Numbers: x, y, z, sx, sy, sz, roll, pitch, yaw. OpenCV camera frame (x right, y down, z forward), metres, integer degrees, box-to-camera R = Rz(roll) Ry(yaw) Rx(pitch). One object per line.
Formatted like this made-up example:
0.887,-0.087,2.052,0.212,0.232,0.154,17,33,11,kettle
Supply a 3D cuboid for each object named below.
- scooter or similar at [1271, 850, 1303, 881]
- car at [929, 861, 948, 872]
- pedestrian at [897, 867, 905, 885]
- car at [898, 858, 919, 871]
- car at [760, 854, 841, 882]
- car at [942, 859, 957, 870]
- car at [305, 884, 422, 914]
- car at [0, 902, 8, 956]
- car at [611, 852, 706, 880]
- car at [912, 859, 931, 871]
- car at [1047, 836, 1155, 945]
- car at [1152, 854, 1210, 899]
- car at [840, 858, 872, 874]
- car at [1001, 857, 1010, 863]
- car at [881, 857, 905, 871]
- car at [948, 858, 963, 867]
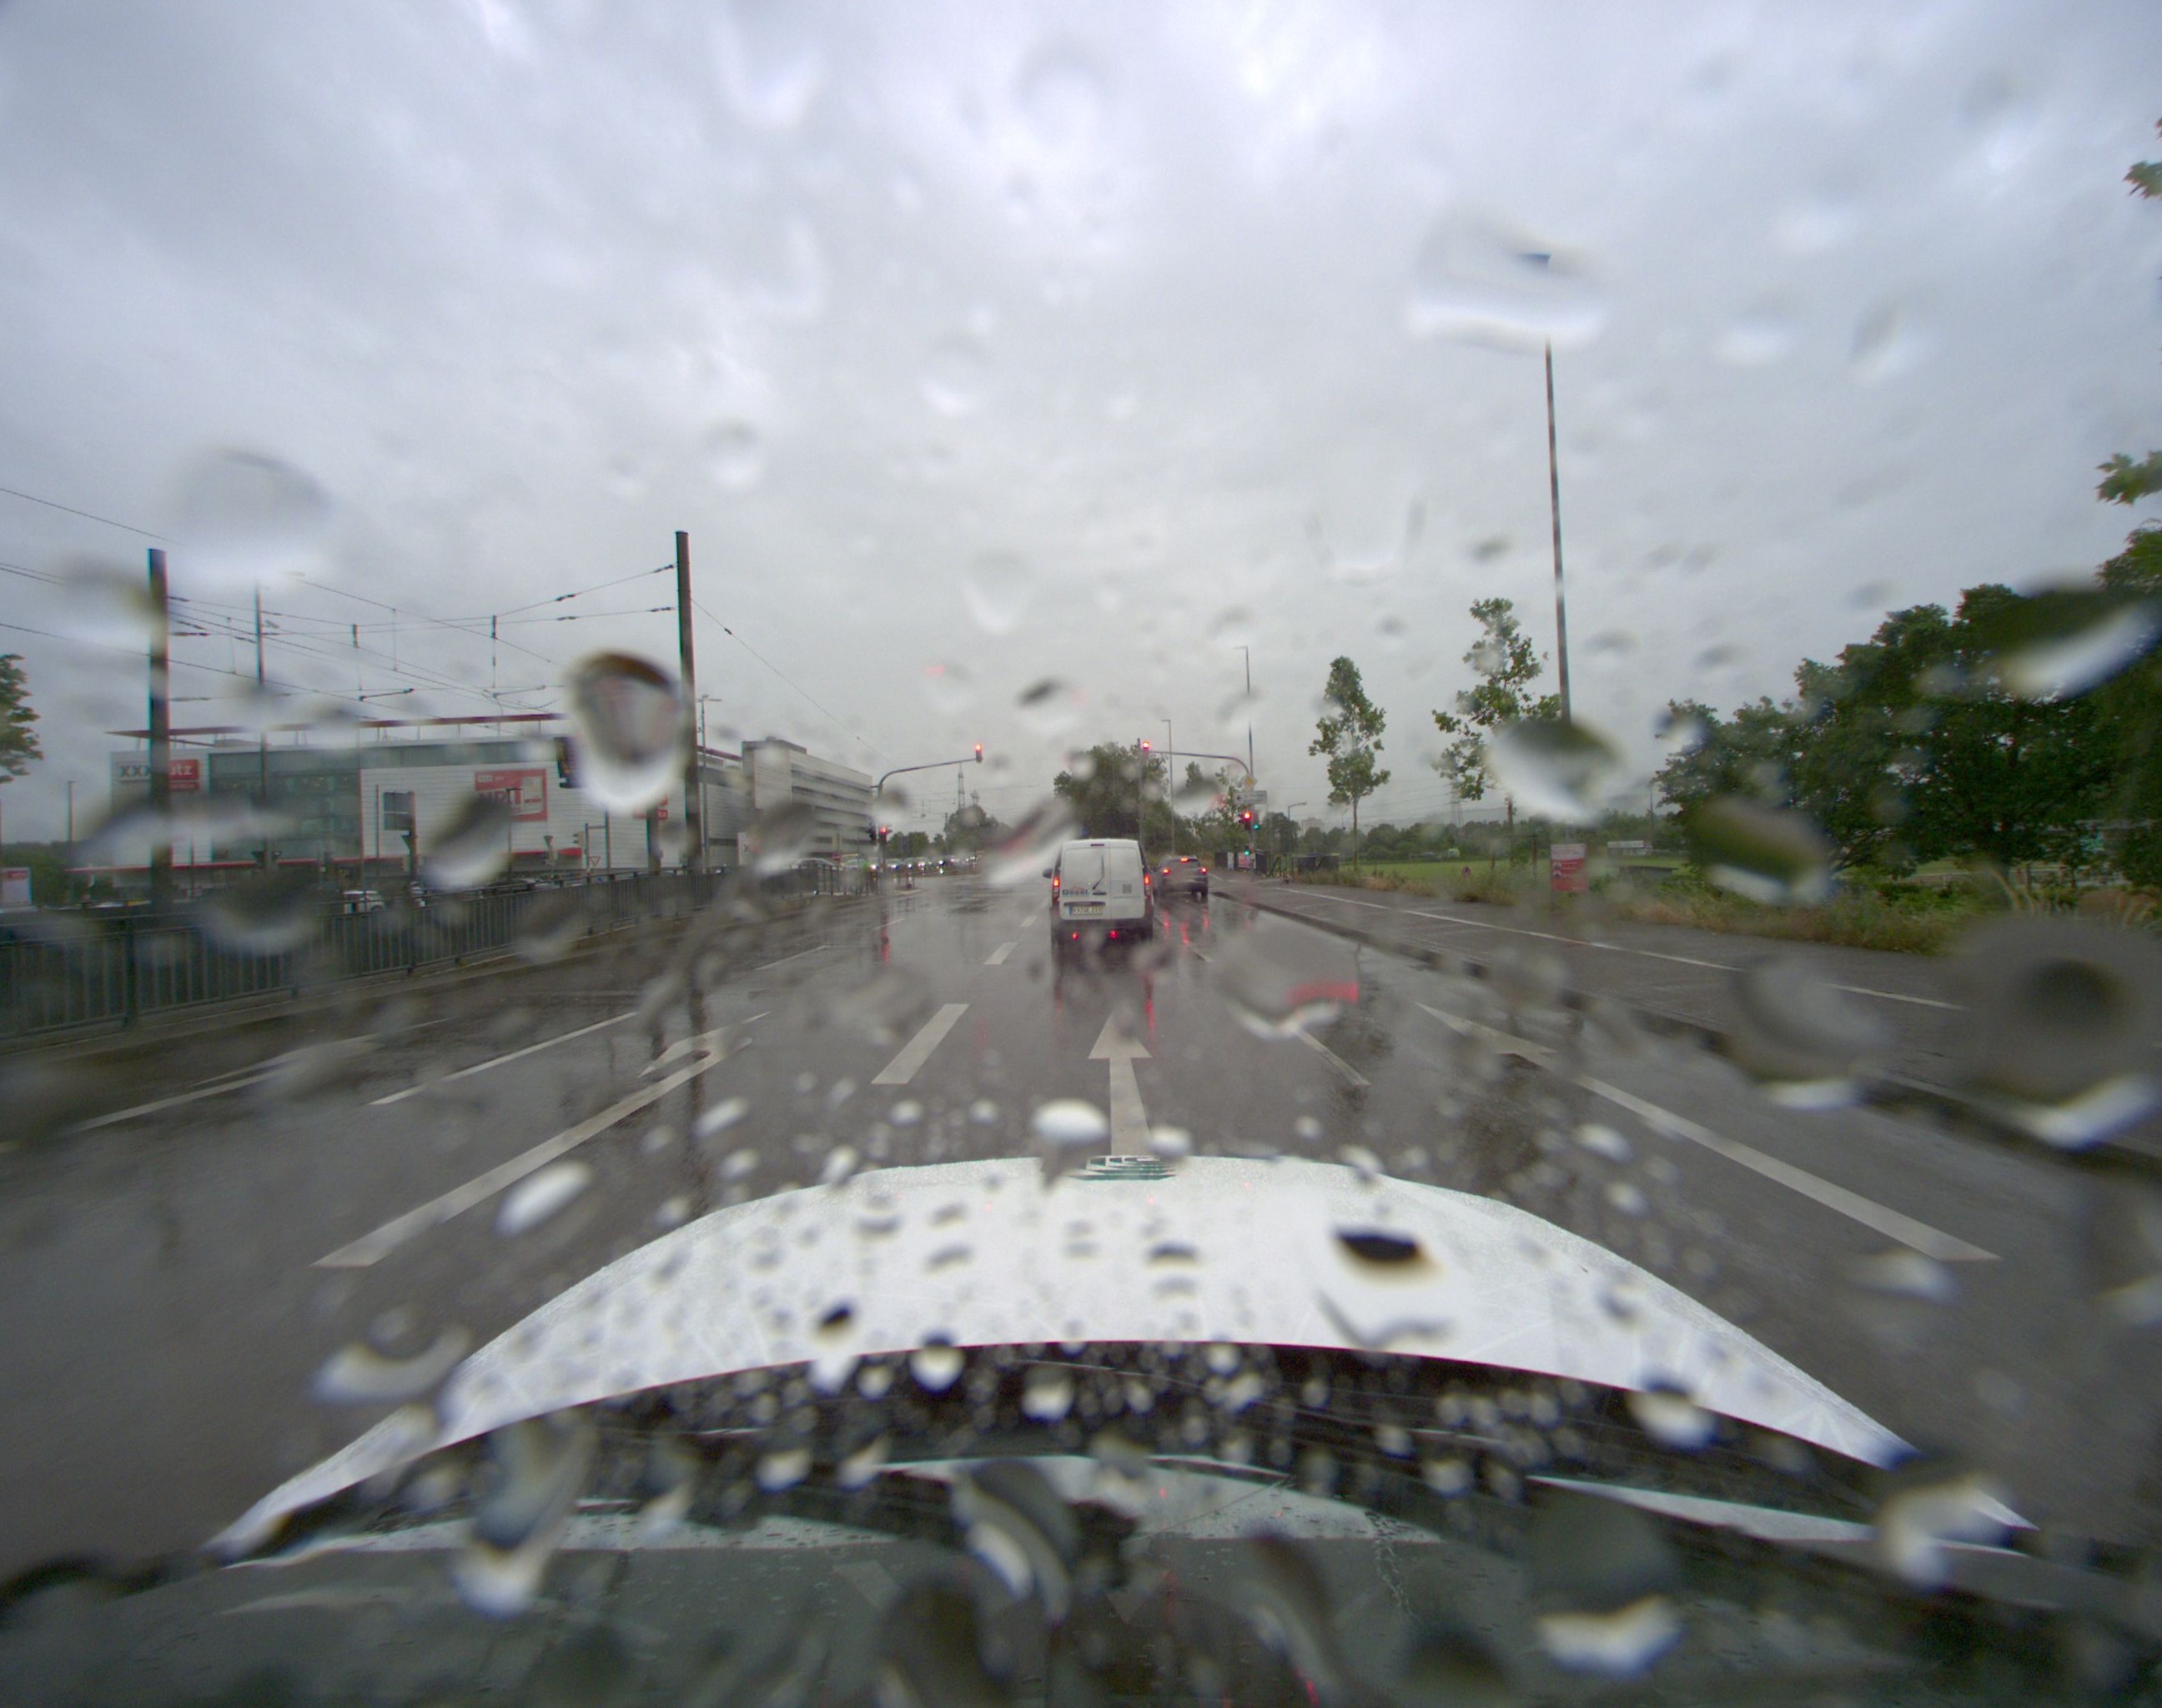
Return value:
8.591,0.476,34.069,0.687,1.211,3.022,-2,0,2,scooter or similar
-18.466,1.601,105.791,1.704,1.426,3.809,0,-1,1,car
-8.827,1.078,39.974,0.314,0.897,0.380,0,0,-1,pedestrian
-19.468,1.207,92.003,1.554,1.426,3.569,0,-1,1,car
-17.280,0.908,50.144,4.474,1.662,1.936,1,-2,-27,car
-18.488,1.461,114.554,1.554,1.426,3.569,0,-1,1,car
-38.152,2.392,43.395,4.260,1.502,1.815,1,-1,-11,car
-29.259,2.027,20.442,1.590,1.464,3.396,0,-1,-30,car
-22.789,0.658,44.024,4.185,1.451,1.711,0,-2,-10,car
-19.273,1.369,98.488,1.554,1.426,3.569,0,-1,1,car
0.253,0.570,15.390,1.750,1.750,4.165,-1,0,-2,car
3.575,0.772,29.702,1.678,1.508,3.920,0,0,0,car
-19.795,1.073,71.780,1.704,1.426,3.809,0,-1,1,car
-17.771,1.438,191.313,1.554,1.426,3.569,0,-1,1,car
-19.562,1.089,84.922,1.554,1.426,3.569,0,-1,1,car
-18.981,1.283,123.436,1.554,1.426,3.569,0,-1,1,car
